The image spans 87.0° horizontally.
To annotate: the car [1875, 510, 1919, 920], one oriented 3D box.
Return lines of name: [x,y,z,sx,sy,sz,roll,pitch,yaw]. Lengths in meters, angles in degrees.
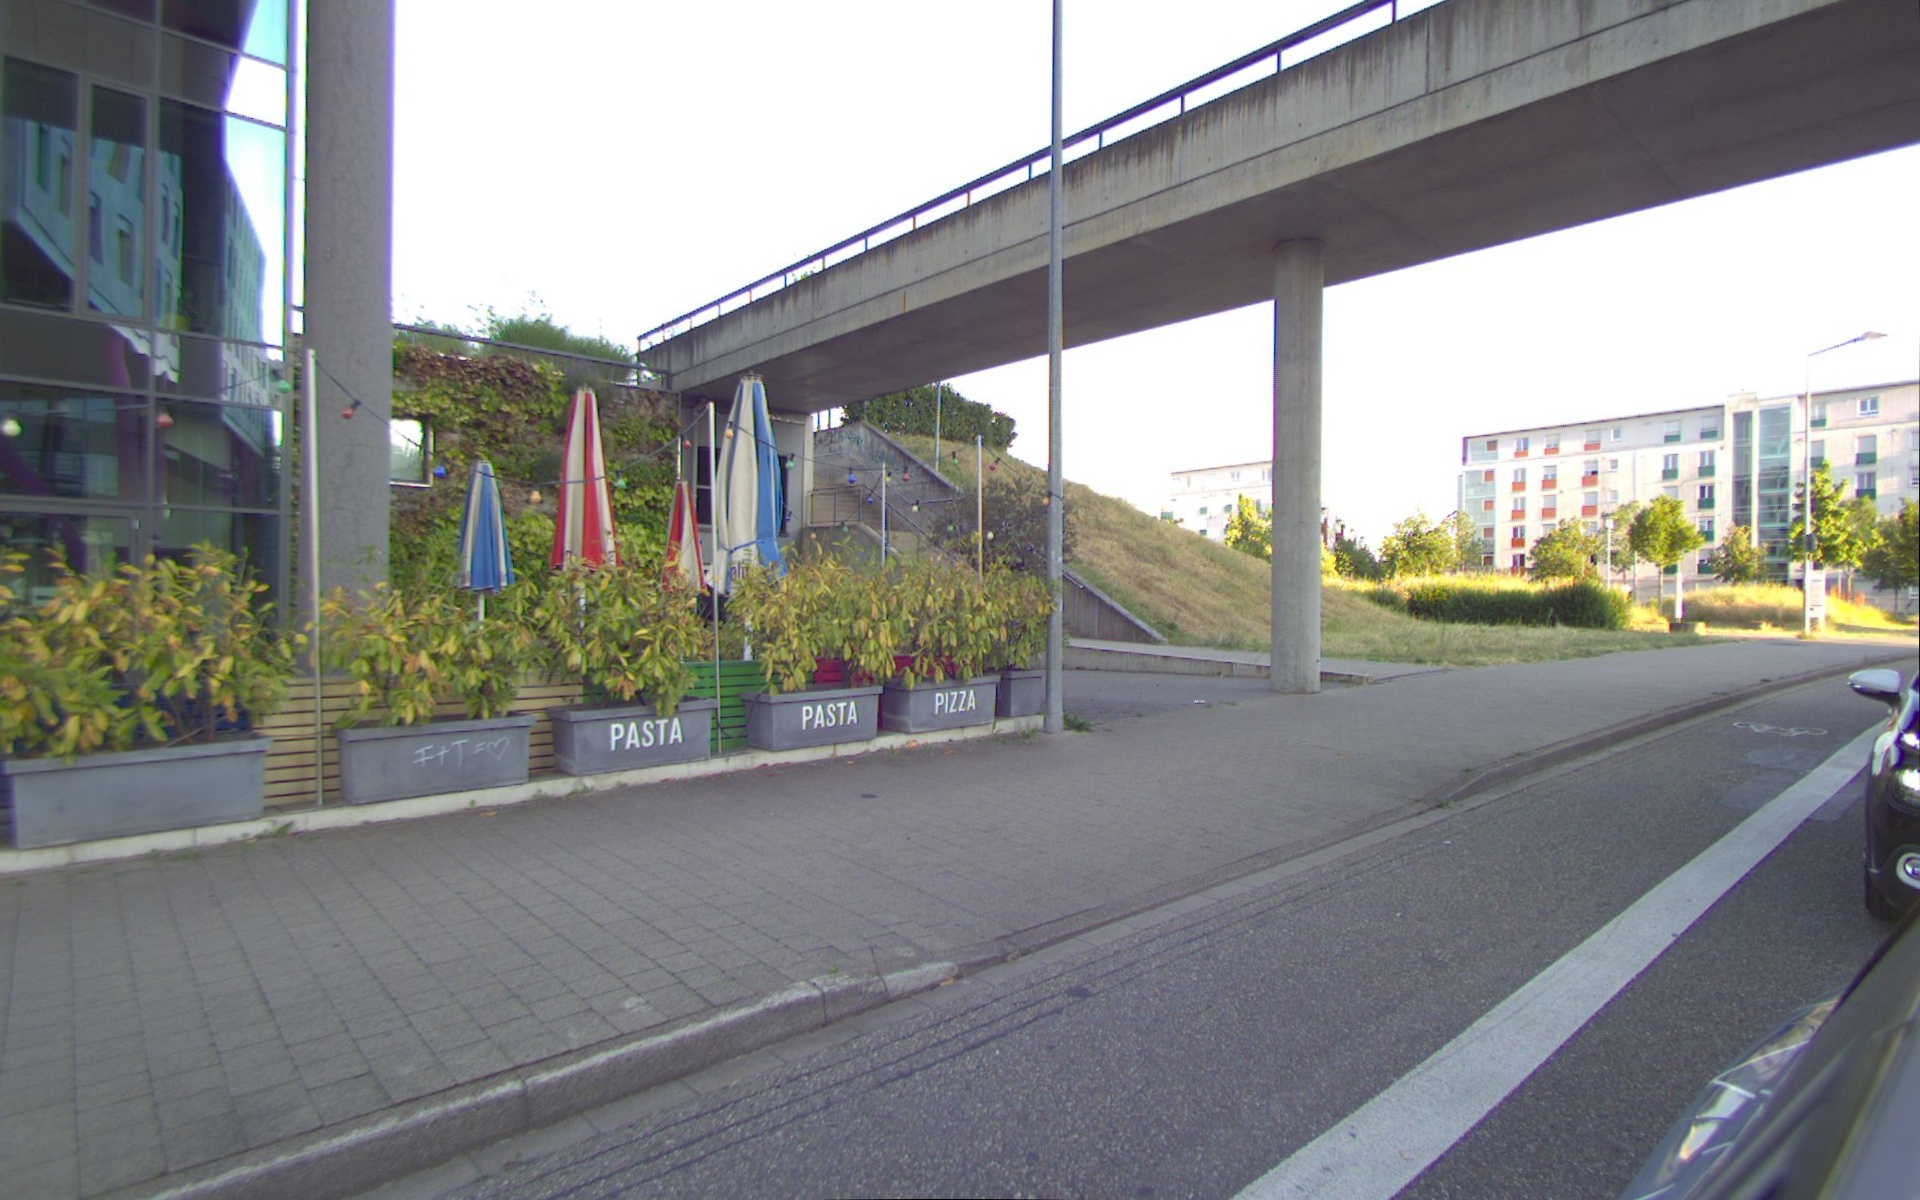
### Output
car: [5.642,0.451,4.697,4.003,1.571,1.757,0,0,-43]
